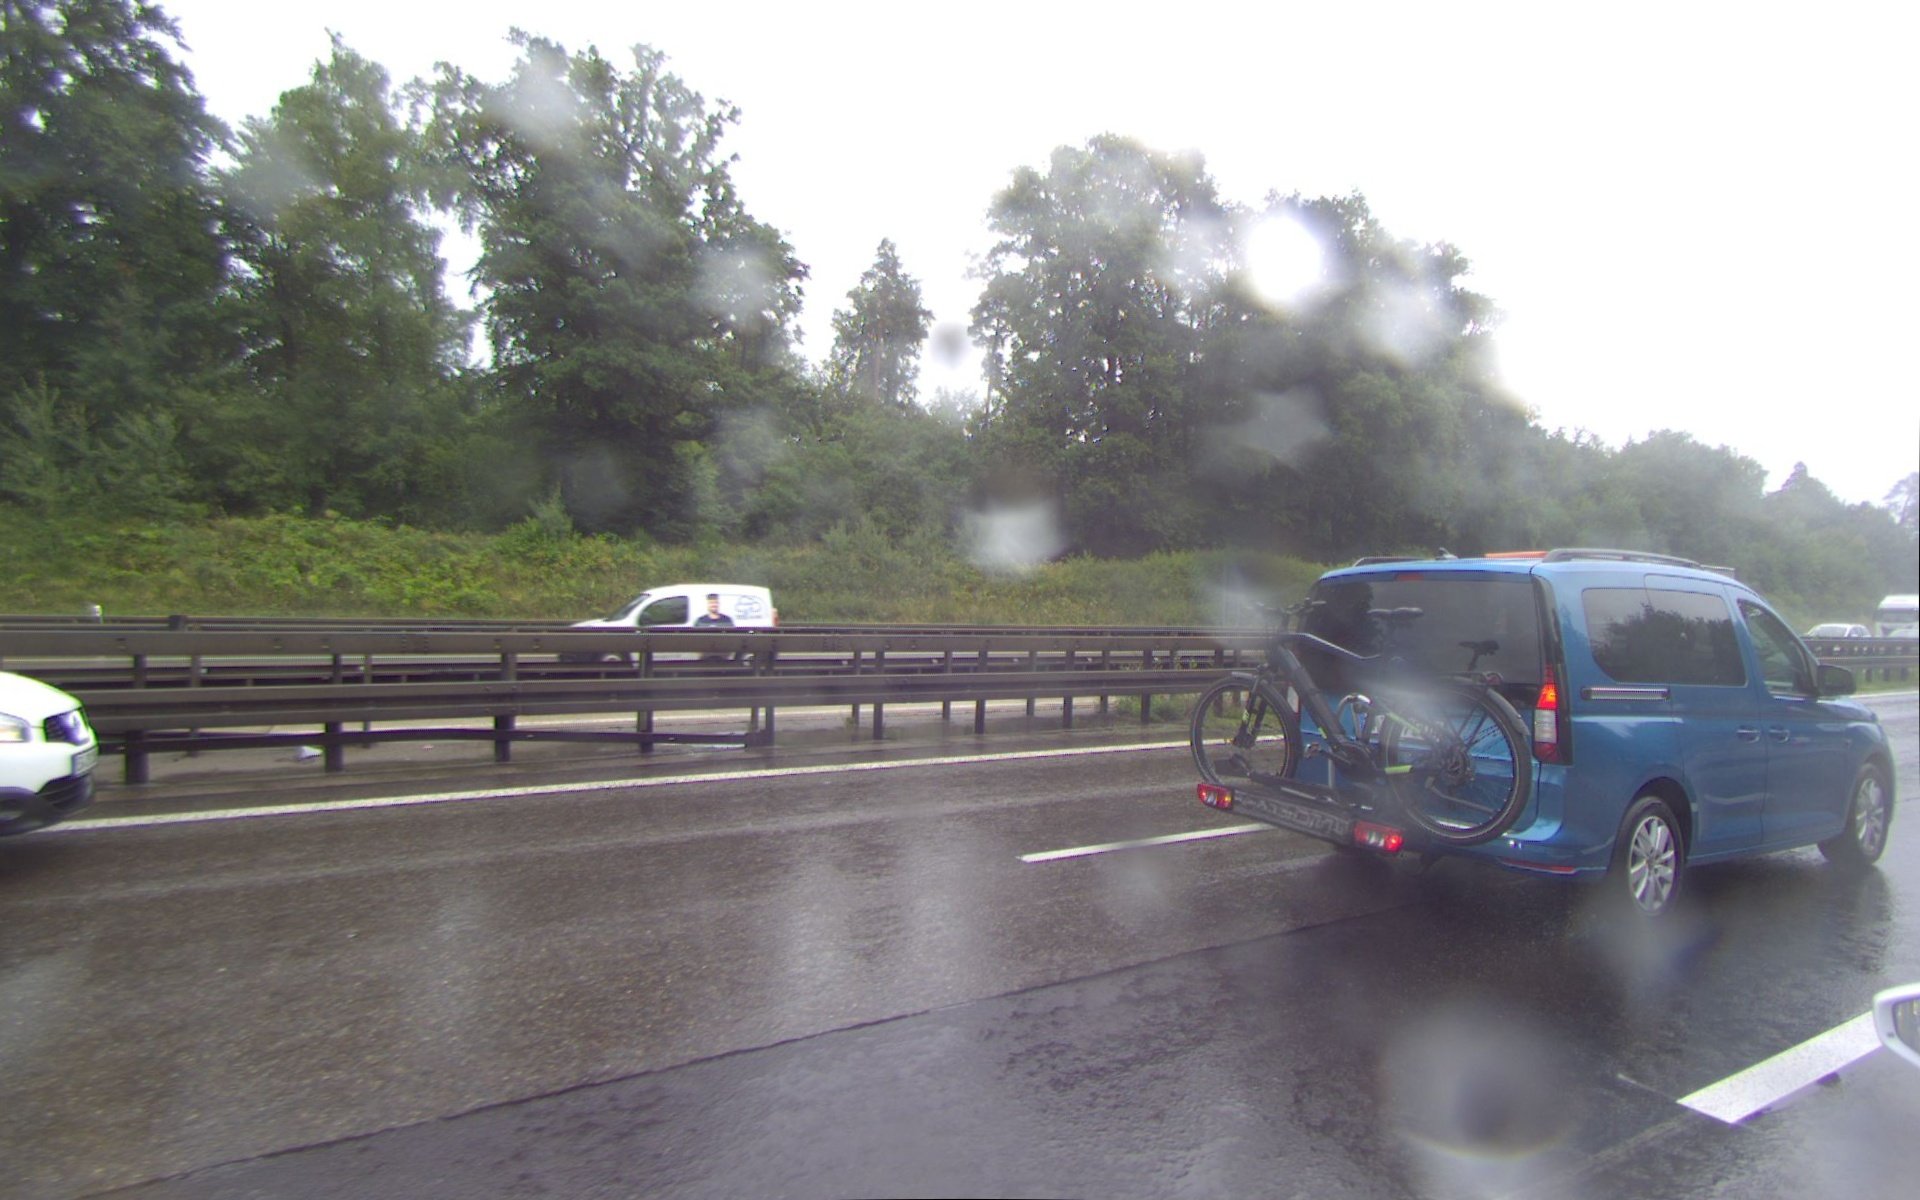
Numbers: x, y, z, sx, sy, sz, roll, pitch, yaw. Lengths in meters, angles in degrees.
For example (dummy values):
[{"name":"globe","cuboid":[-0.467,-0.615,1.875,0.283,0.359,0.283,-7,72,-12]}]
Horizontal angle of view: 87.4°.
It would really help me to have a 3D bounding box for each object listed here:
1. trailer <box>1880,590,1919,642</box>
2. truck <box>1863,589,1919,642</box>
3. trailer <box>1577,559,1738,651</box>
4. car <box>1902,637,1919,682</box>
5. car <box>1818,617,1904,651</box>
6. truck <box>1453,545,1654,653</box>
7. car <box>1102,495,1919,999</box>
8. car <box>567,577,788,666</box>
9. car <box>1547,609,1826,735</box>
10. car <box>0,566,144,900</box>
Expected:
[{"name":"trailer","cuboid":[77.543,1.324,79.910,13.411,3.869,3.007,1,0,-32]},{"name":"truck","cuboid":[71.662,1.165,76.188,6.193,3.869,3.005,1,0,-31]},{"name":"trailer","cuboid":[31.700,0.295,45.487,8.906,3.869,2.668,1,0,-32]},{"name":"car","cuboid":[34.921,2.056,35.003,4.705,1.524,2.078,1,-2,-34]},{"name":"car","cuboid":[42.003,1.568,46.786,4.282,1.517,1.826,1,0,-31]},{"name":"truck","cuboid":[24.313,0.064,40.873,9.913,3.984,2.690,1,0,-31]},{"name":"car","cuboid":[3.539,0.599,6.048,4.953,1.937,2.260,1,0,-29]},{"name":"car","cuboid":[-5.650,0.429,20.165,3.952,1.617,1.852,1,0,-29]},{"name":"car","cuboid":[10.887,0.977,14.981,4.416,1.613,1.836,1,0,-32]},{"name":"car","cuboid":[-6.781,0.600,4.631,4.414,1.613,1.836,1,0,-31]}]
